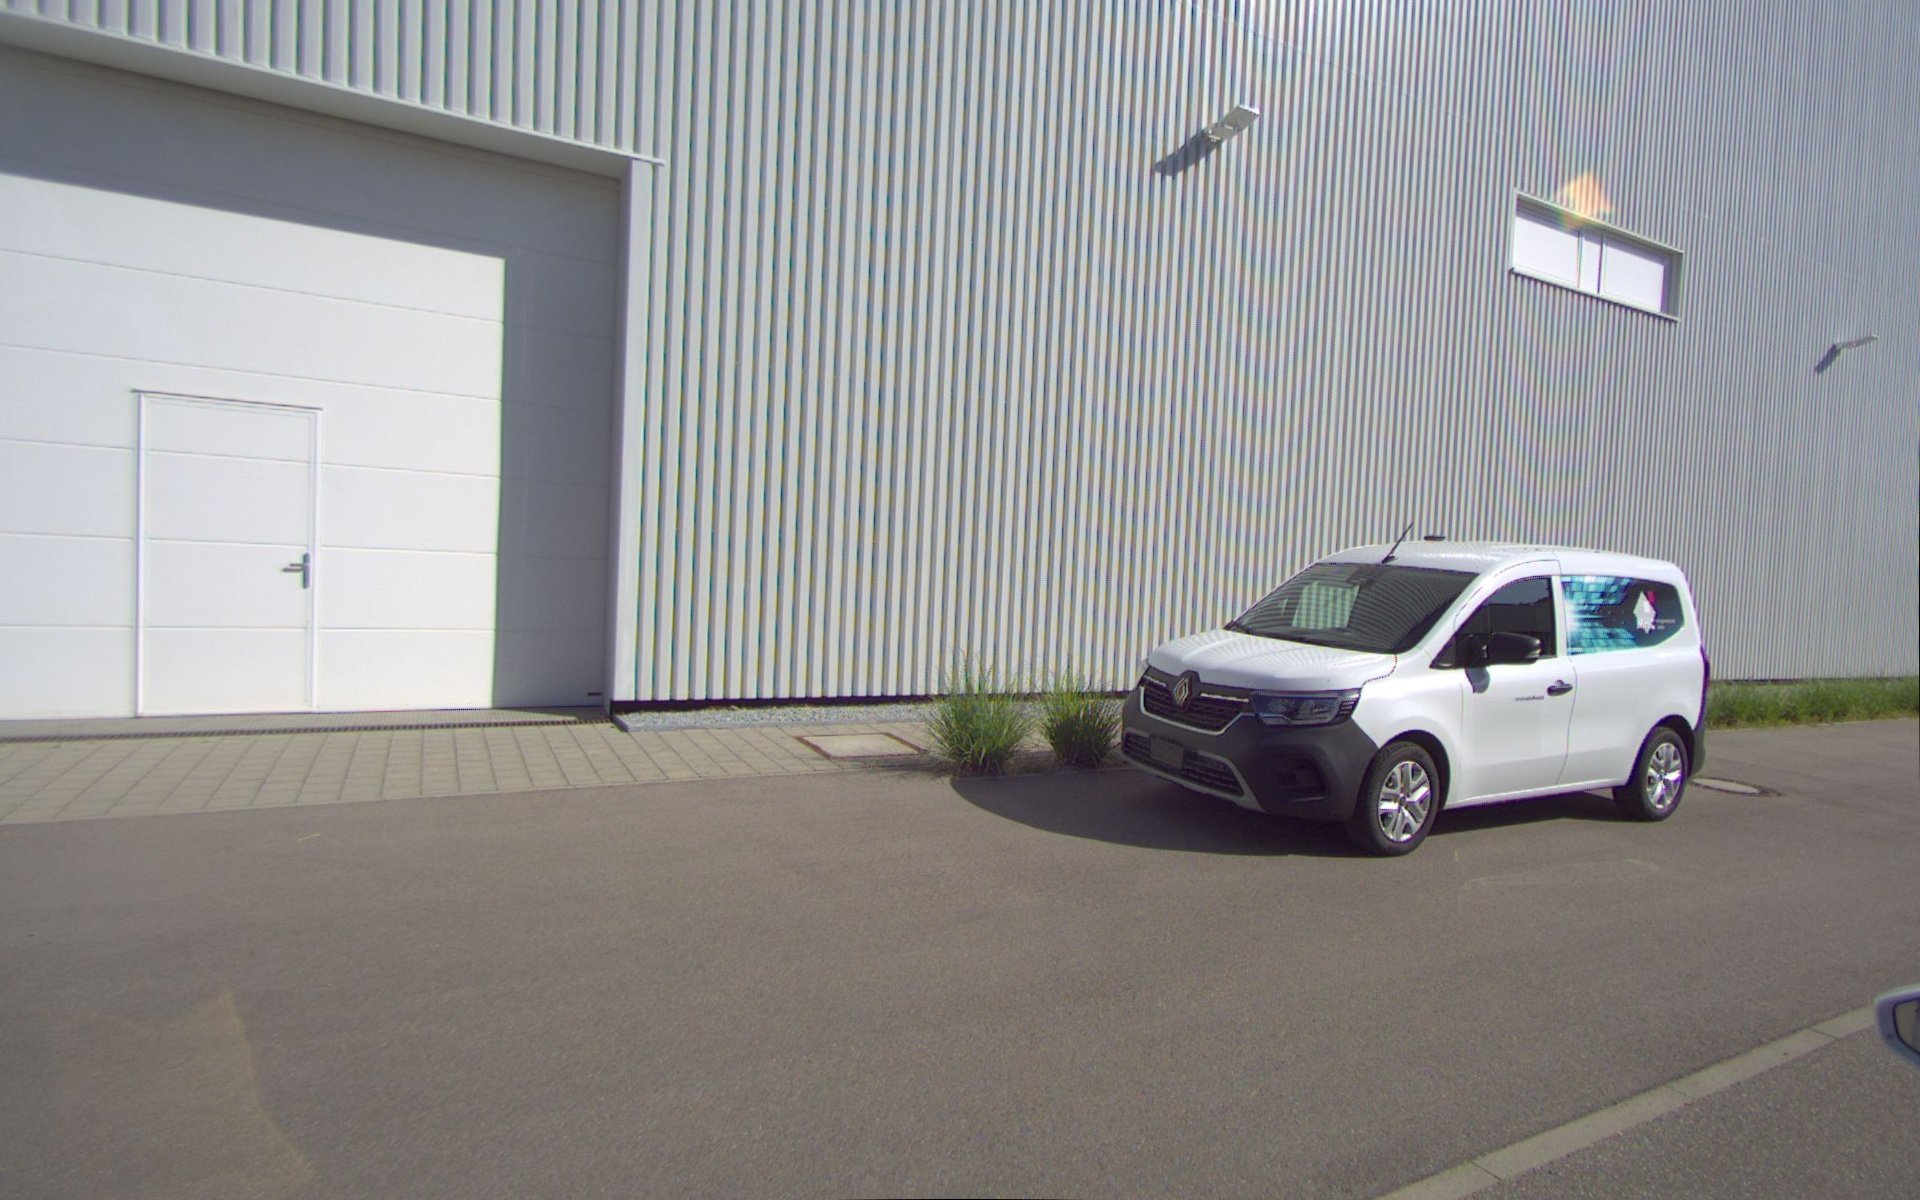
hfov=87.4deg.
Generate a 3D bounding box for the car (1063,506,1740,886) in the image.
[{"bbox_3d":[3.048,0.462,6.786,4.306,1.870,1.881,2,4,-30],"label":"car"}]
